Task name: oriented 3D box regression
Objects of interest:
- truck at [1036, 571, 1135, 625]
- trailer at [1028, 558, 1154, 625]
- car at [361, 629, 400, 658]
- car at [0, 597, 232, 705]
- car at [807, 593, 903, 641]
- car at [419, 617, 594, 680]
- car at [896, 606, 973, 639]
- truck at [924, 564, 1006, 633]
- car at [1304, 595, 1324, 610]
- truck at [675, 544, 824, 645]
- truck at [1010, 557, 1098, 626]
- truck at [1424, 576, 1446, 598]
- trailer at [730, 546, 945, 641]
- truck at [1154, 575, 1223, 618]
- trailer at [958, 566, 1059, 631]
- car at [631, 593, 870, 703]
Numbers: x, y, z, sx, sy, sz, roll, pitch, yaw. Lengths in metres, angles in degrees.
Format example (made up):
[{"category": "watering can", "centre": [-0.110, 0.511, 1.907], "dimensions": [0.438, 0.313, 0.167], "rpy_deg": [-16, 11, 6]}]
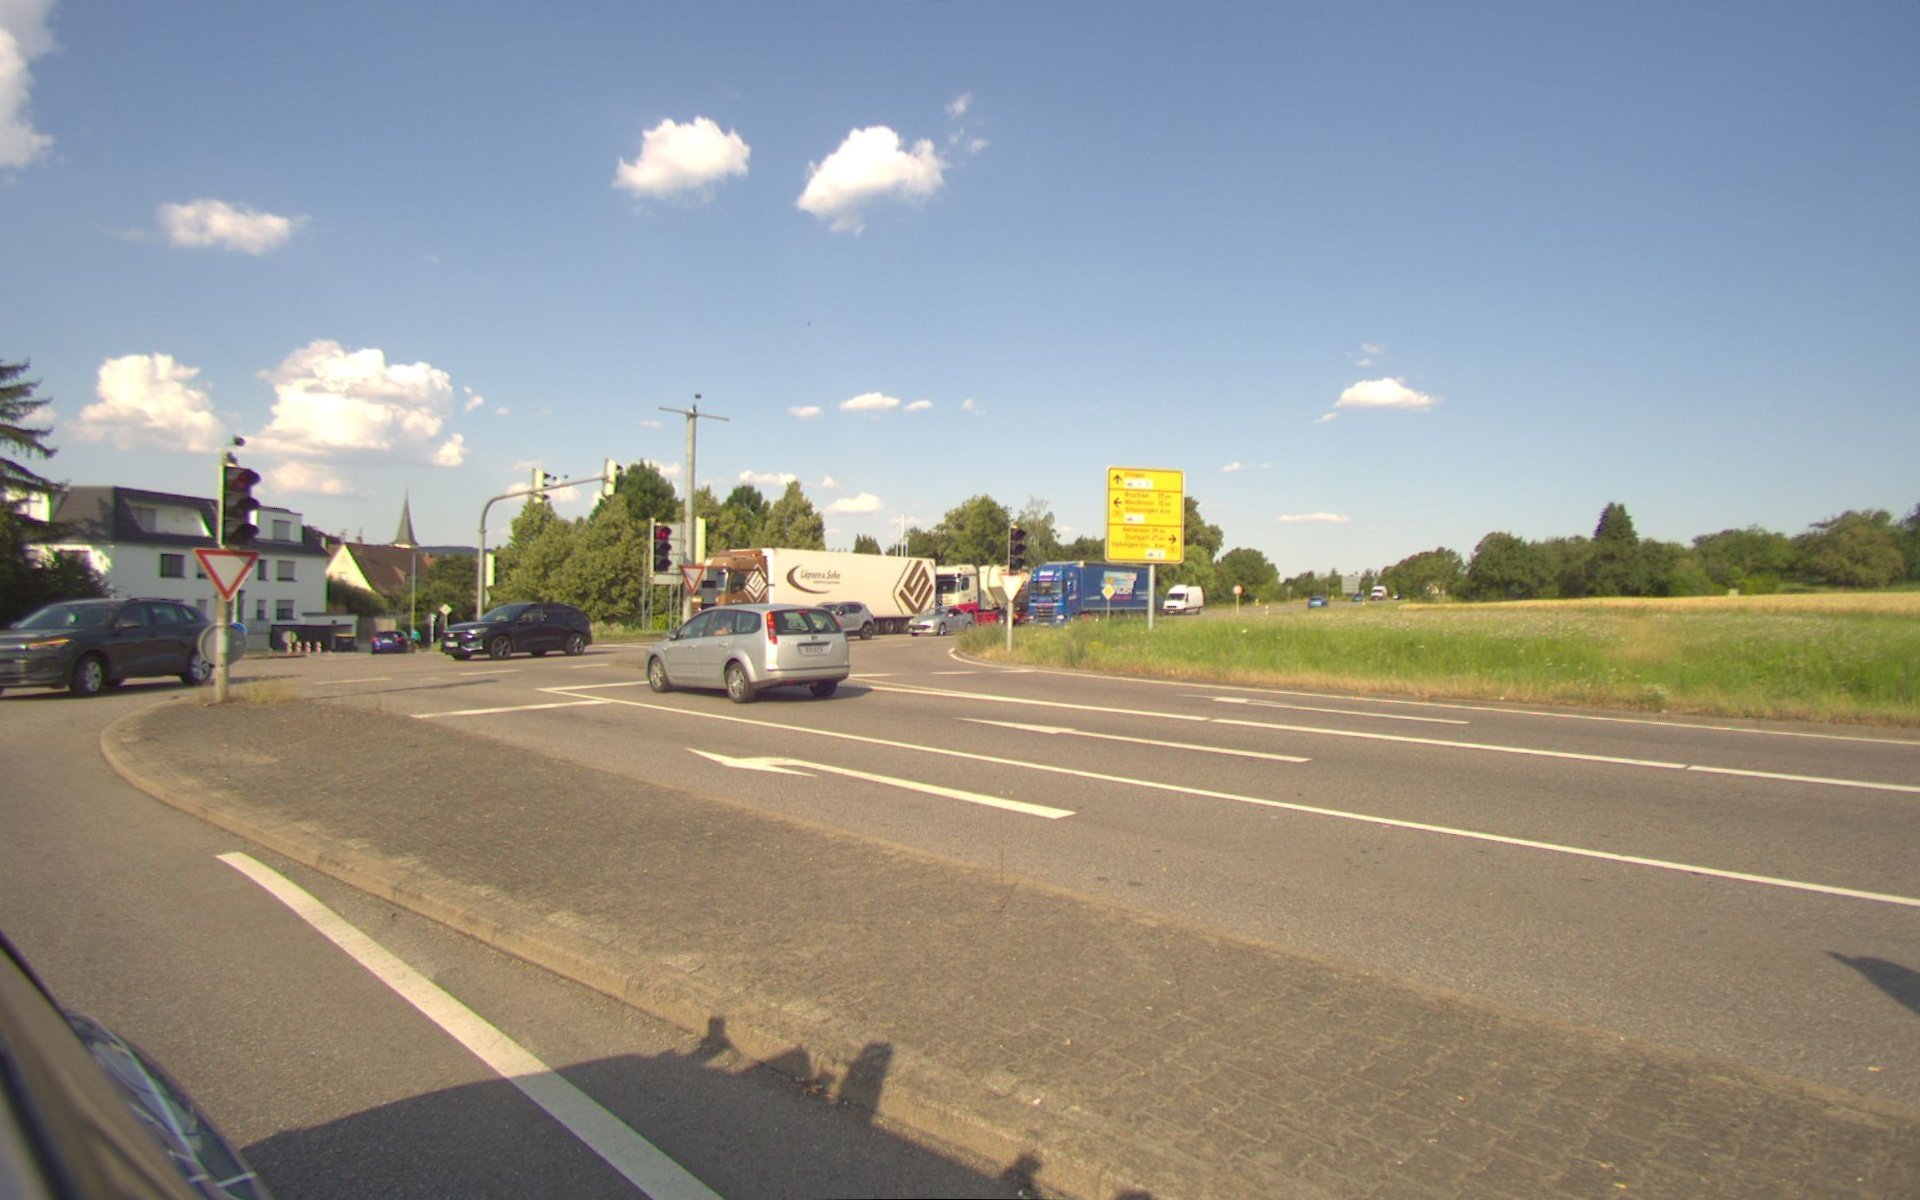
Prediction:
[{"category": "truck", "centre": [9.822, -0.170, 77.531], "dimensions": [2.521, 3.802, 12.763], "rpy_deg": [-2, -1, 31]}, {"category": "trailer", "centre": [9.187, -0.507, 68.496], "dimensions": [3.406, 4.035, 13.608], "rpy_deg": [-2, -1, 30]}, {"category": "car", "centre": [-32.999, 2.434, 57.585], "dimensions": [1.763, 1.509, 4.314], "rpy_deg": [-1, -1, -31]}, {"category": "car", "centre": [-15.179, 0.819, 17.715], "dimensions": [1.763, 1.641, 4.471], "rpy_deg": [-1, -1, -2]}, {"category": "car", "centre": [-4.478, 0.700, 43.637], "dimensions": [1.901, 1.962, 4.327], "rpy_deg": [-2, -1, 30]}, {"category": "car", "centre": [-13.182, 1.370, 29.710], "dimensions": [1.769, 1.625, 4.502], "rpy_deg": [-2, -1, 30]}, {"category": "car", "centre": [-1.191, 1.076, 49.551], "dimensions": [1.992, 1.497, 3.959], "rpy_deg": [-2, -1, 30]}, {"category": "truck", "centre": [0.387, -0.065, 59.355], "dimensions": [2.254, 3.834, 5.627], "rpy_deg": [-2, -1, 30]}, {"category": "car", "centre": [38.258, 0.264, 109.331], "dimensions": [1.753, 1.512, 3.970], "rpy_deg": [0, -1, 22]}, {"category": "truck", "centre": [-9.074, -0.208, 44.376], "dimensions": [2.531, 4.074, 6.591], "rpy_deg": [-2, -1, 31]}, {"category": "truck", "centre": [5.904, -0.478, 62.662], "dimensions": [3.363, 4.035, 5.544], "rpy_deg": [-2, -1, 30]}, {"category": "truck", "centre": [104.102, -2.771, 221.699], "dimensions": [3.439, 4.531, 9.389], "rpy_deg": [-2, -1, 30]}, {"category": "trailer", "centre": [-5.518, -0.241, 50.399], "dimensions": [2.531, 4.098, 14.185], "rpy_deg": [-2, -1, 31]}, {"category": "truck", "centre": [22.088, -0.314, 97.103], "dimensions": [2.521, 3.802, 12.763], "rpy_deg": [-2, -1, 31]}, {"category": "trailer", "centre": [3.264, -0.076, 64.303], "dimensions": [2.257, 3.806, 9.427], "rpy_deg": [-3, -1, 30]}, {"category": "car", "centre": [-3.521, 0.784, 16.464], "dimensions": [1.793, 1.540, 4.358], "rpy_deg": [-1, -2, -43]}]
